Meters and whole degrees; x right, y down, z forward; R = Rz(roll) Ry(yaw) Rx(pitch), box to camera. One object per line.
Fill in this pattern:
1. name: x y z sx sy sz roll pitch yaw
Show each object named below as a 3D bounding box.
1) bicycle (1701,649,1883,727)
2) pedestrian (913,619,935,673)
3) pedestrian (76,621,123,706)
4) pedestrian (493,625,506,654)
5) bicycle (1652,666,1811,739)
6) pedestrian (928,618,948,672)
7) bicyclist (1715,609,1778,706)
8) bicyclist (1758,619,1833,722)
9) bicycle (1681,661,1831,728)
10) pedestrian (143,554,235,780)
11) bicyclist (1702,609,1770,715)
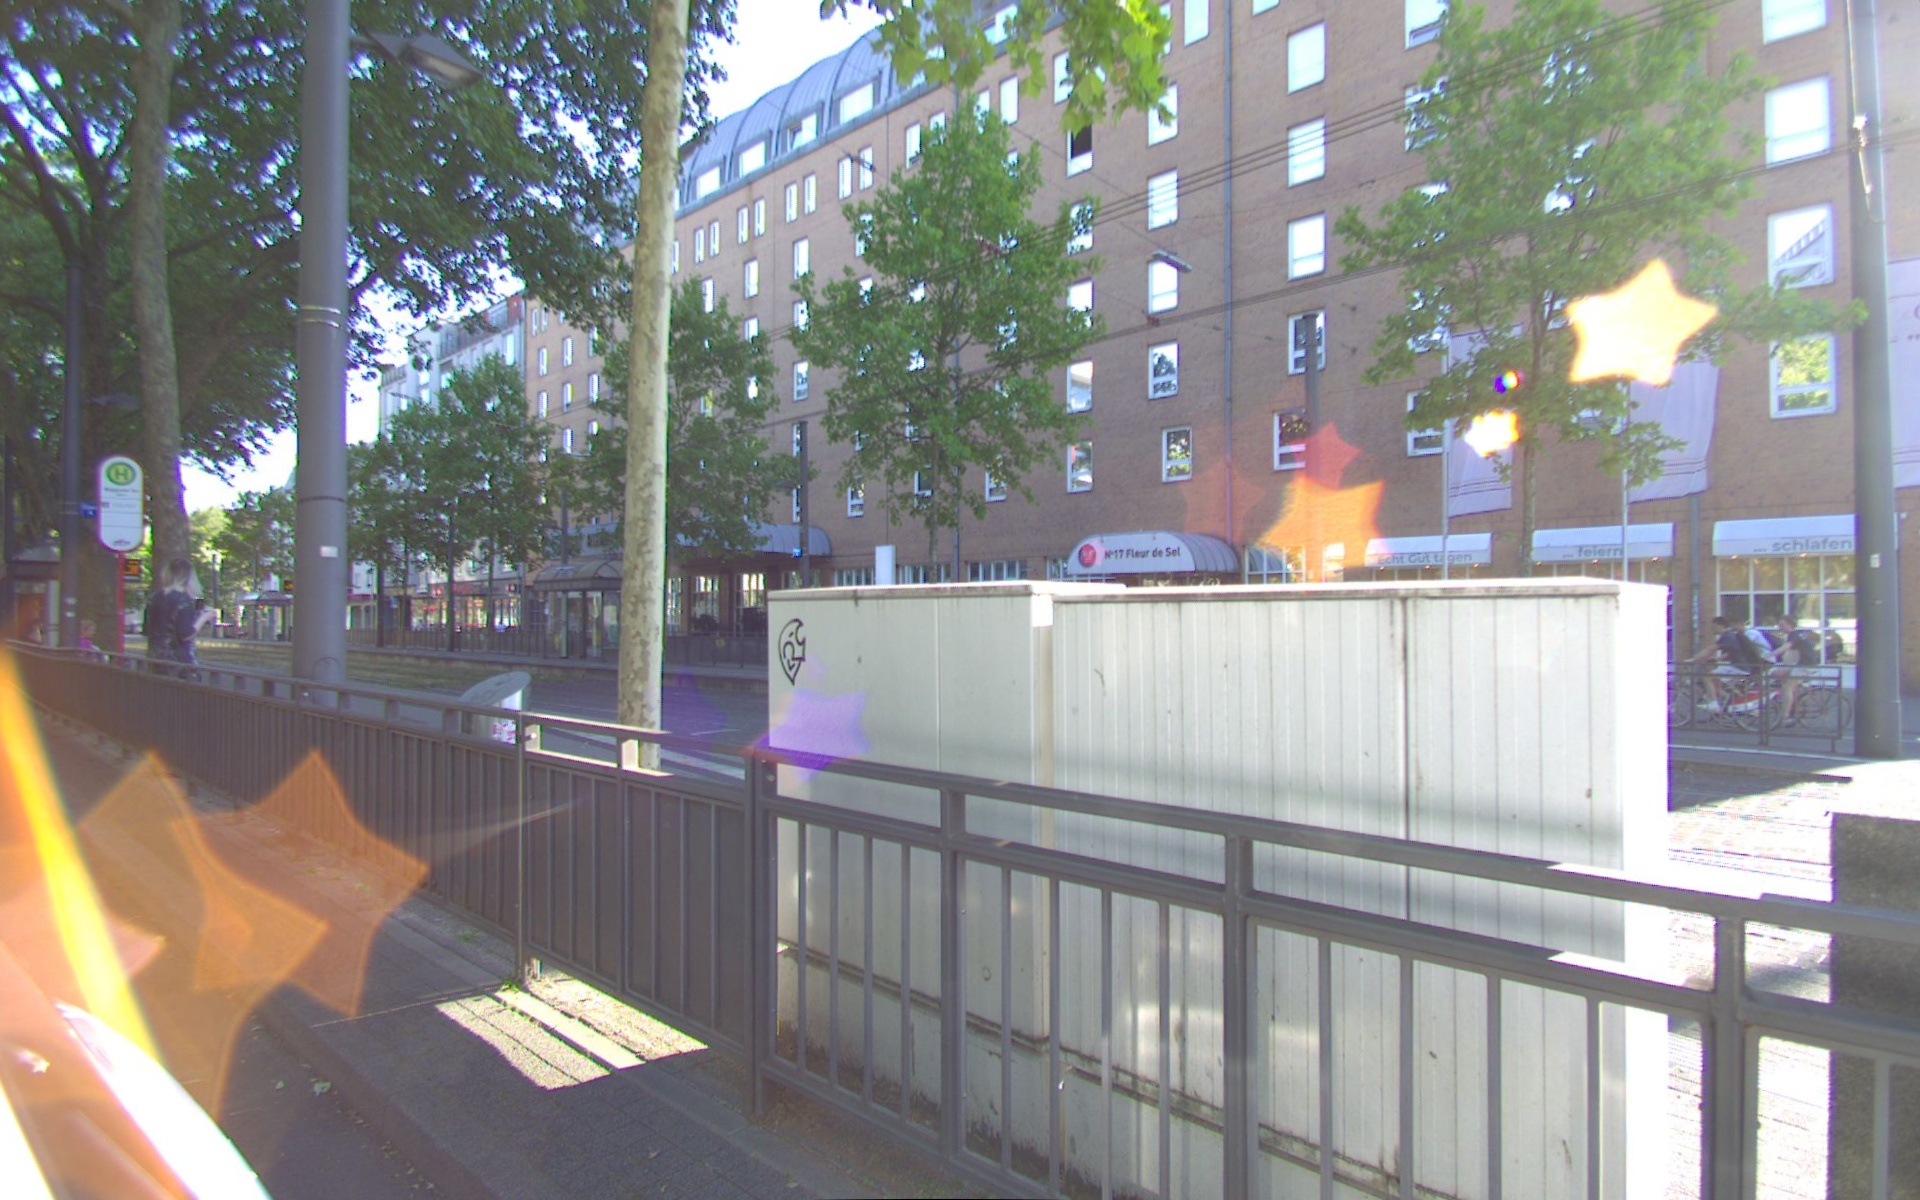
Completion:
1. bicycle: 13.149 1.392 16.097 2.105 1.151 0.679 -4 -4 34
2. pedestrian: -1.180 1.479 32.849 0.472 1.748 0.545 1 -2 -42
3. pedestrian: -13.854 1.007 16.299 0.534 1.327 0.525 -1 0 -37
4. pedestrian: -28.437 2.421 62.505 0.574 1.748 0.497 -2 -2 43
5. bicycle: 11.902 1.556 15.699 1.897 1.006 0.688 -1 -2 34
6. pedestrian: -0.726 1.467 33.242 0.437 1.748 0.545 1 -2 -42
7. bicyclist: 13.182 0.953 16.978 0.756 1.586 0.655 -1 -2 34
8. bicyclist: 13.228 1.112 16.054 0.756 1.572 0.676 -4 -4 33
9. bicycle: 13.251 1.550 16.926 1.897 1.006 0.647 -1 -2 34
10. pedestrian: -6.605 0.546 8.667 0.524 1.848 0.535 -1 0 44
11. bicyclist: 11.983 0.947 15.657 0.756 1.581 0.655 -1 -2 34
